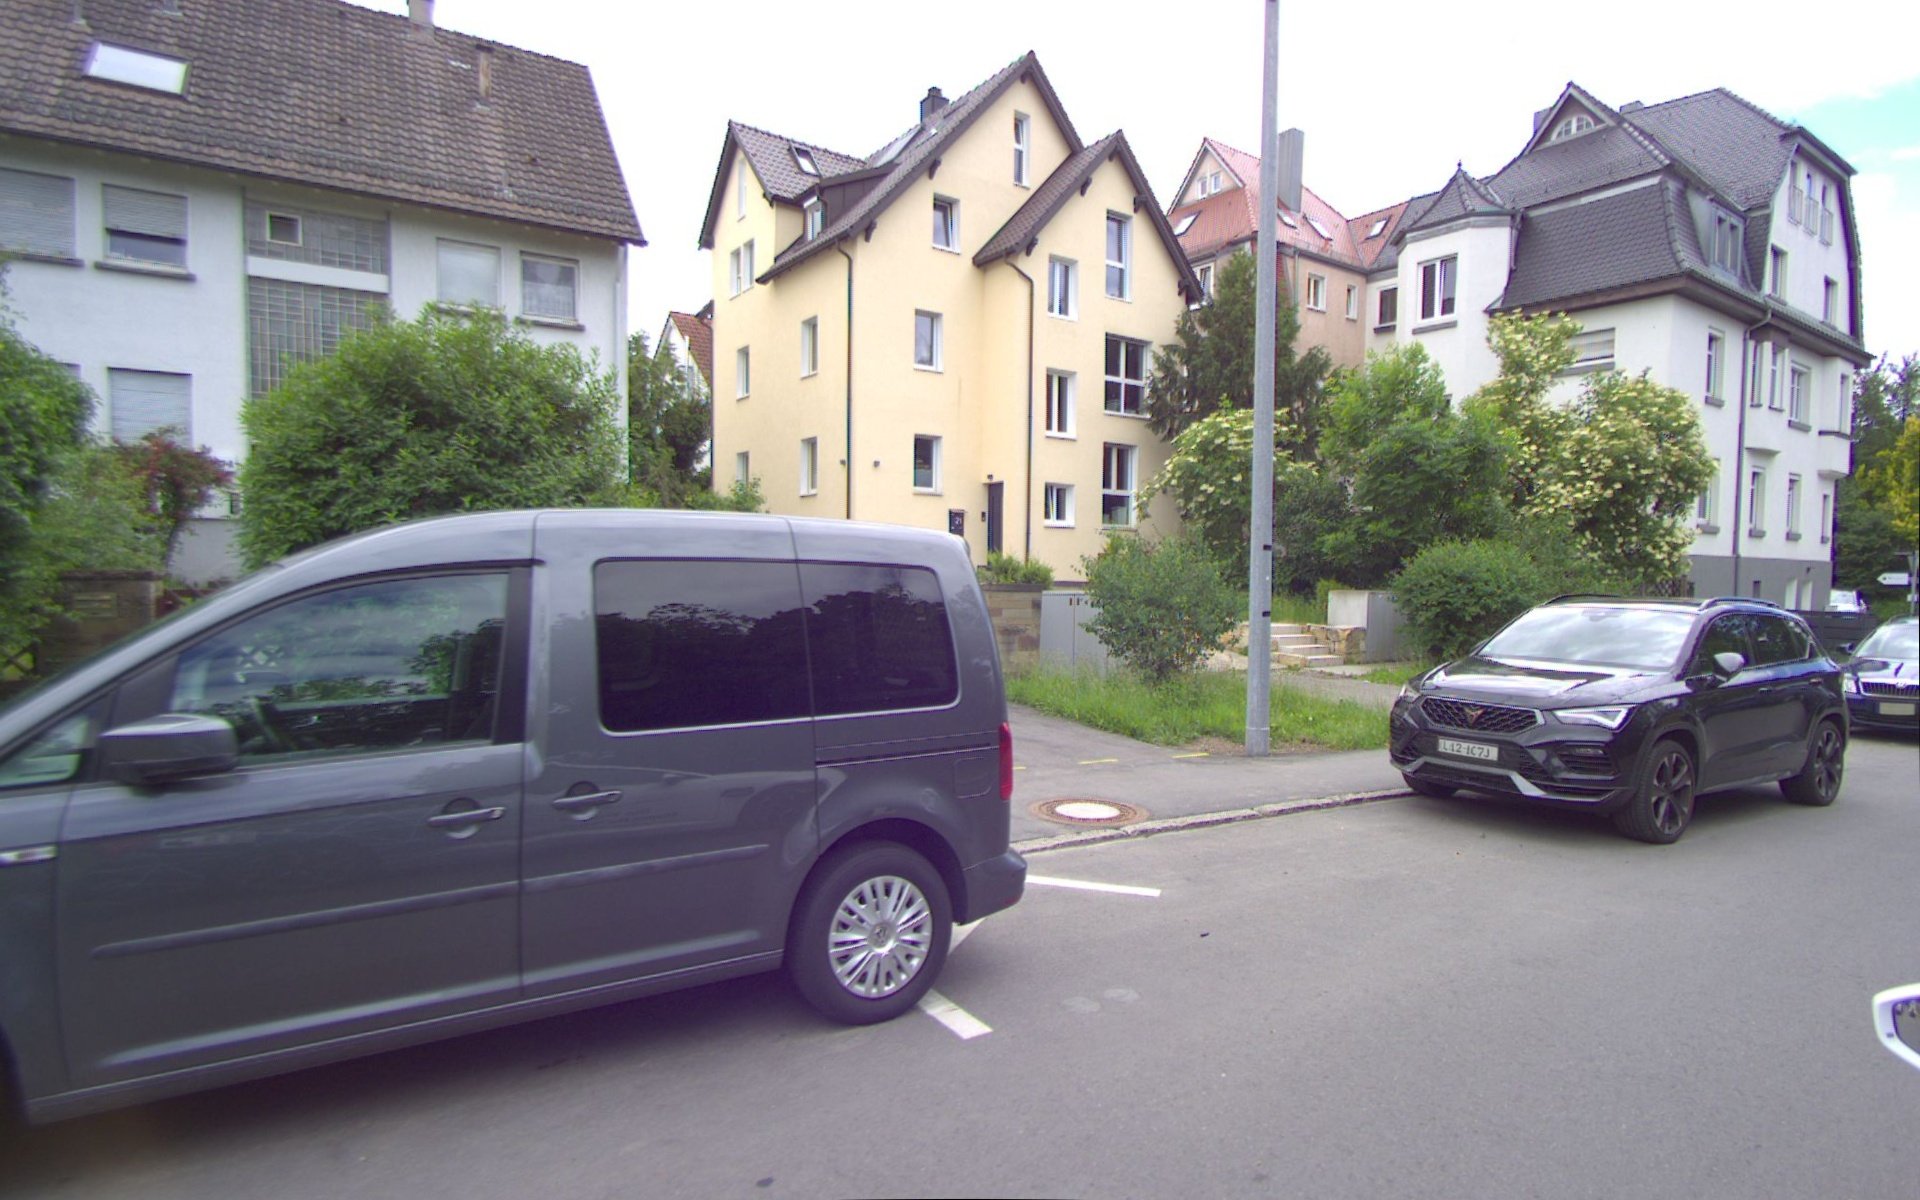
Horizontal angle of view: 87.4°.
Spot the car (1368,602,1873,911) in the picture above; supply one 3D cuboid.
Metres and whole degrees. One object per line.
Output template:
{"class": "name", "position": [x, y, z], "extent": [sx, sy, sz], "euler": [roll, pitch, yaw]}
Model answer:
{"class": "car", "position": [5.201, 0.929, 7.776], "extent": [4.085, 1.787, 1.761], "euler": [0, 1, -33]}

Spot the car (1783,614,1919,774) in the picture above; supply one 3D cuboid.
{"class": "car", "position": [12.037, 1.054, 12.428], "extent": [4.272, 1.677, 1.787], "euler": [0, 1, -35]}

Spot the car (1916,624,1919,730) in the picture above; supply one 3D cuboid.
{"class": "car", "position": [16.567, 1.149, 15.526], "extent": [4.272, 1.587, 1.787], "euler": [0, 1, -35]}

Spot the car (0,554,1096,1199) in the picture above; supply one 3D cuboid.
{"class": "car", "position": [-1.651, 0.784, 3.569], "extent": [4.085, 1.787, 1.761], "euler": [0, 1, -33]}
